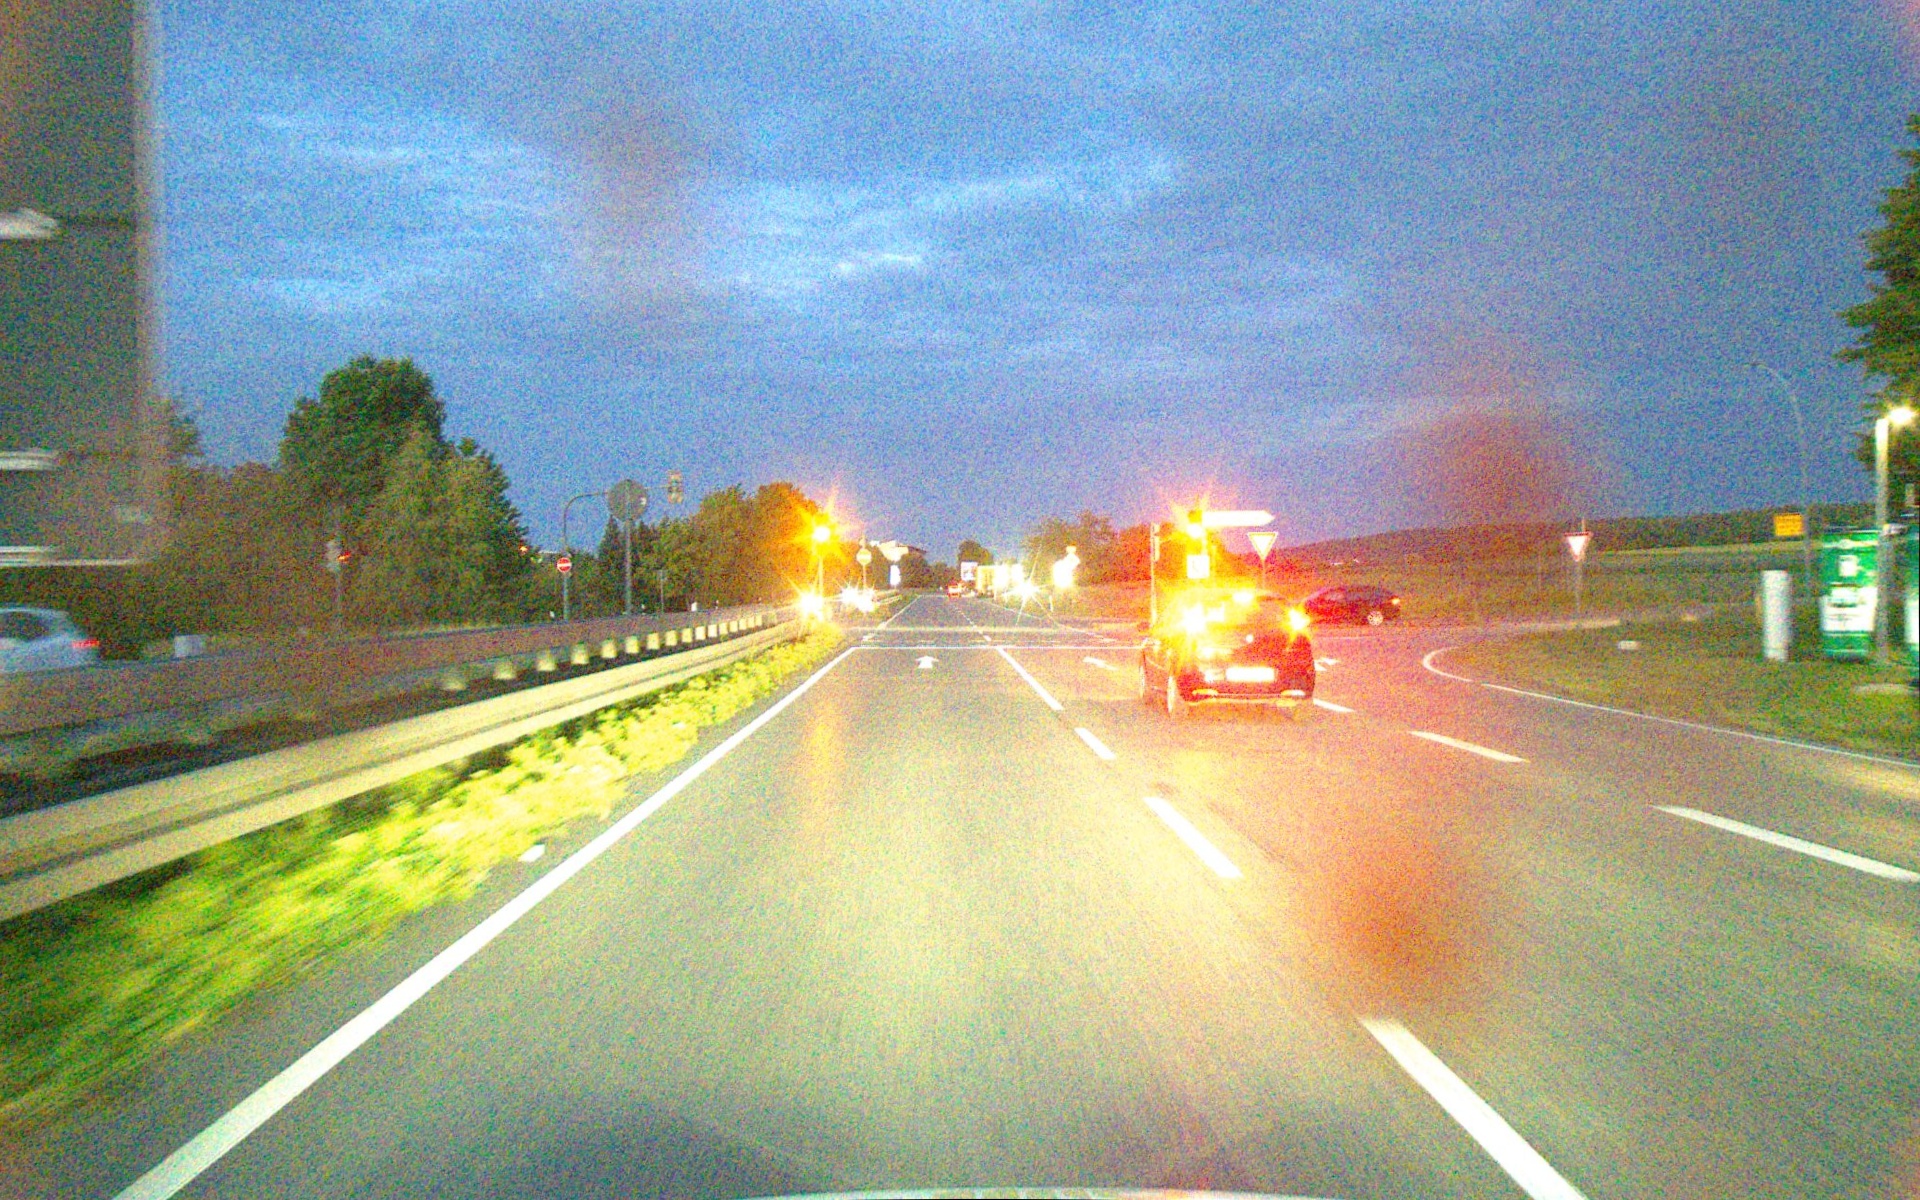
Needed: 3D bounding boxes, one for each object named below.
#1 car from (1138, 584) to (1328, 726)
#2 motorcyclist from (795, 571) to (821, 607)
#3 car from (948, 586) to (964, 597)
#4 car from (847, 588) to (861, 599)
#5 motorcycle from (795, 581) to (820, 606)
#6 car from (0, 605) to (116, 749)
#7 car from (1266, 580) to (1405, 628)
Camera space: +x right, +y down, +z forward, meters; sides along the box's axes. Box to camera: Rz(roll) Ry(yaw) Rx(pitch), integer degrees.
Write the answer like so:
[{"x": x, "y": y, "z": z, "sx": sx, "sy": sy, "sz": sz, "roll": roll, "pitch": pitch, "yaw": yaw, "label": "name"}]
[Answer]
[{"x": 3.196, "y": 0.581, "z": 20.070, "sx": 1.636, "sy": 1.547, "sz": 4.106, "roll": 0, "pitch": 0, "yaw": 0, "label": "car"}, {"x": -6.902, "y": -0.505, "z": 75.187, "sx": 1.114, "sy": 1.612, "sz": 0.972, "roll": -2, "pitch": 0, "yaw": -2, "label": "motorcyclist"}, {"x": -0.564, "y": -1.244, "z": 239.918, "sx": 2.228, "sy": 1.660, "sz": 3.999, "roll": -1, "pitch": 0, "yaw": -2, "label": "car"}, {"x": -15.966, "y": -0.958, "z": 249.227, "sx": 1.953, "sy": 1.545, "sz": 4.296, "roll": -1, "pitch": 1, "yaw": -1, "label": "car"}, {"x": -6.928, "y": -0.301, "z": 75.161, "sx": 0.959, "sy": 1.118, "sz": 2.508, "roll": -2, "pitch": 1, "yaw": -1, "label": "motorcycle"}, {"x": -12.449, "y": 0.939, "z": 20.599, "sx": 1.759, "sy": 1.700, "sz": 4.499, "roll": 0, "pitch": 0, "yaw": -3, "label": "car"}, {"x": 13.428, "y": 0.141, "z": 59.376, "sx": 4.507, "sy": 1.547, "sz": 2.000, "roll": -2, "pitch": 0, "yaw": -1, "label": "car"}]
